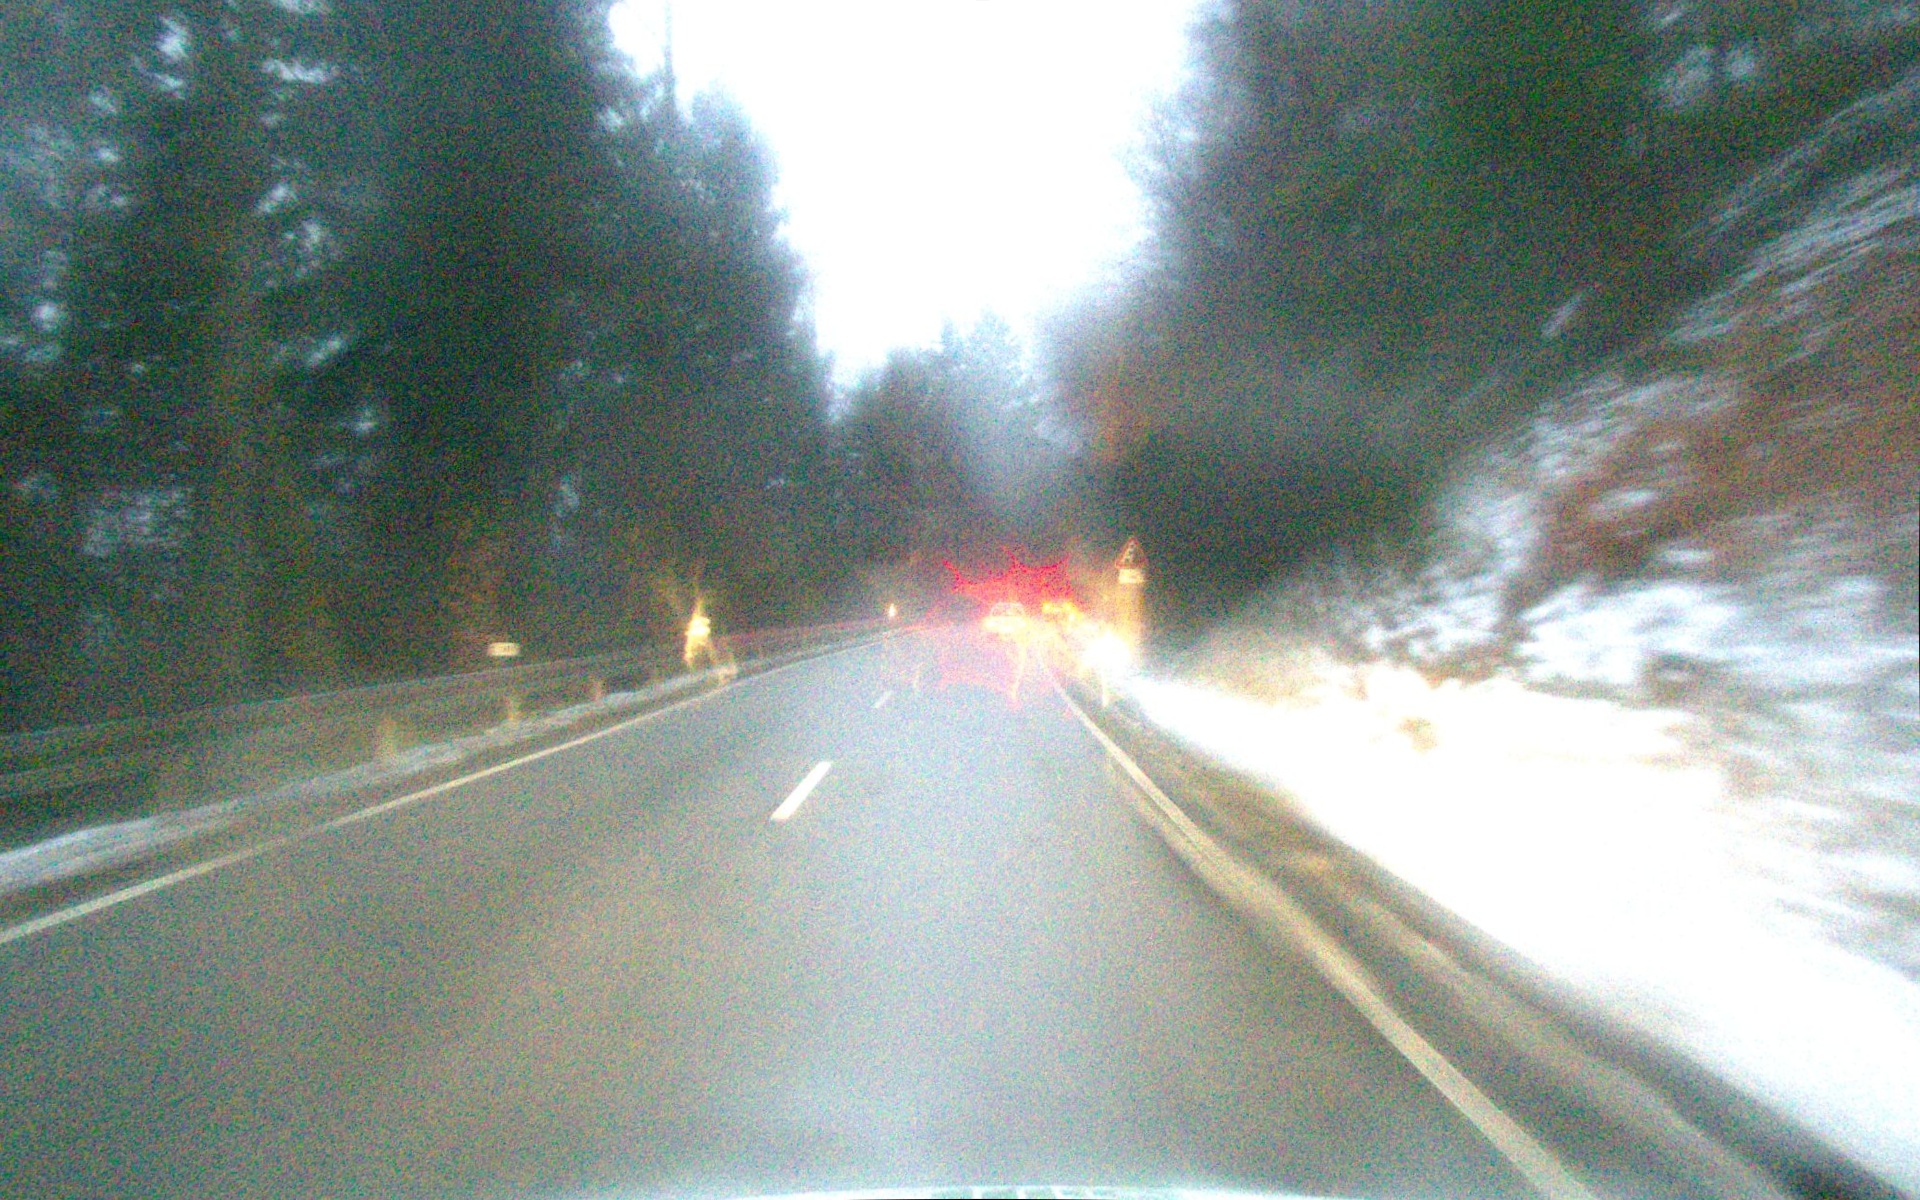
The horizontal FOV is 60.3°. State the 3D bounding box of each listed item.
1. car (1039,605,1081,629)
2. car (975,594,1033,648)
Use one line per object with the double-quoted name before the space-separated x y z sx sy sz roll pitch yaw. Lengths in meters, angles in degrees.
"car" 6.055 0.998 100.885 1.955 1.333 3.996 -2 0 -5
"car" 1.653 0.767 63.519 1.953 1.905 3.999 -2 0 -1
